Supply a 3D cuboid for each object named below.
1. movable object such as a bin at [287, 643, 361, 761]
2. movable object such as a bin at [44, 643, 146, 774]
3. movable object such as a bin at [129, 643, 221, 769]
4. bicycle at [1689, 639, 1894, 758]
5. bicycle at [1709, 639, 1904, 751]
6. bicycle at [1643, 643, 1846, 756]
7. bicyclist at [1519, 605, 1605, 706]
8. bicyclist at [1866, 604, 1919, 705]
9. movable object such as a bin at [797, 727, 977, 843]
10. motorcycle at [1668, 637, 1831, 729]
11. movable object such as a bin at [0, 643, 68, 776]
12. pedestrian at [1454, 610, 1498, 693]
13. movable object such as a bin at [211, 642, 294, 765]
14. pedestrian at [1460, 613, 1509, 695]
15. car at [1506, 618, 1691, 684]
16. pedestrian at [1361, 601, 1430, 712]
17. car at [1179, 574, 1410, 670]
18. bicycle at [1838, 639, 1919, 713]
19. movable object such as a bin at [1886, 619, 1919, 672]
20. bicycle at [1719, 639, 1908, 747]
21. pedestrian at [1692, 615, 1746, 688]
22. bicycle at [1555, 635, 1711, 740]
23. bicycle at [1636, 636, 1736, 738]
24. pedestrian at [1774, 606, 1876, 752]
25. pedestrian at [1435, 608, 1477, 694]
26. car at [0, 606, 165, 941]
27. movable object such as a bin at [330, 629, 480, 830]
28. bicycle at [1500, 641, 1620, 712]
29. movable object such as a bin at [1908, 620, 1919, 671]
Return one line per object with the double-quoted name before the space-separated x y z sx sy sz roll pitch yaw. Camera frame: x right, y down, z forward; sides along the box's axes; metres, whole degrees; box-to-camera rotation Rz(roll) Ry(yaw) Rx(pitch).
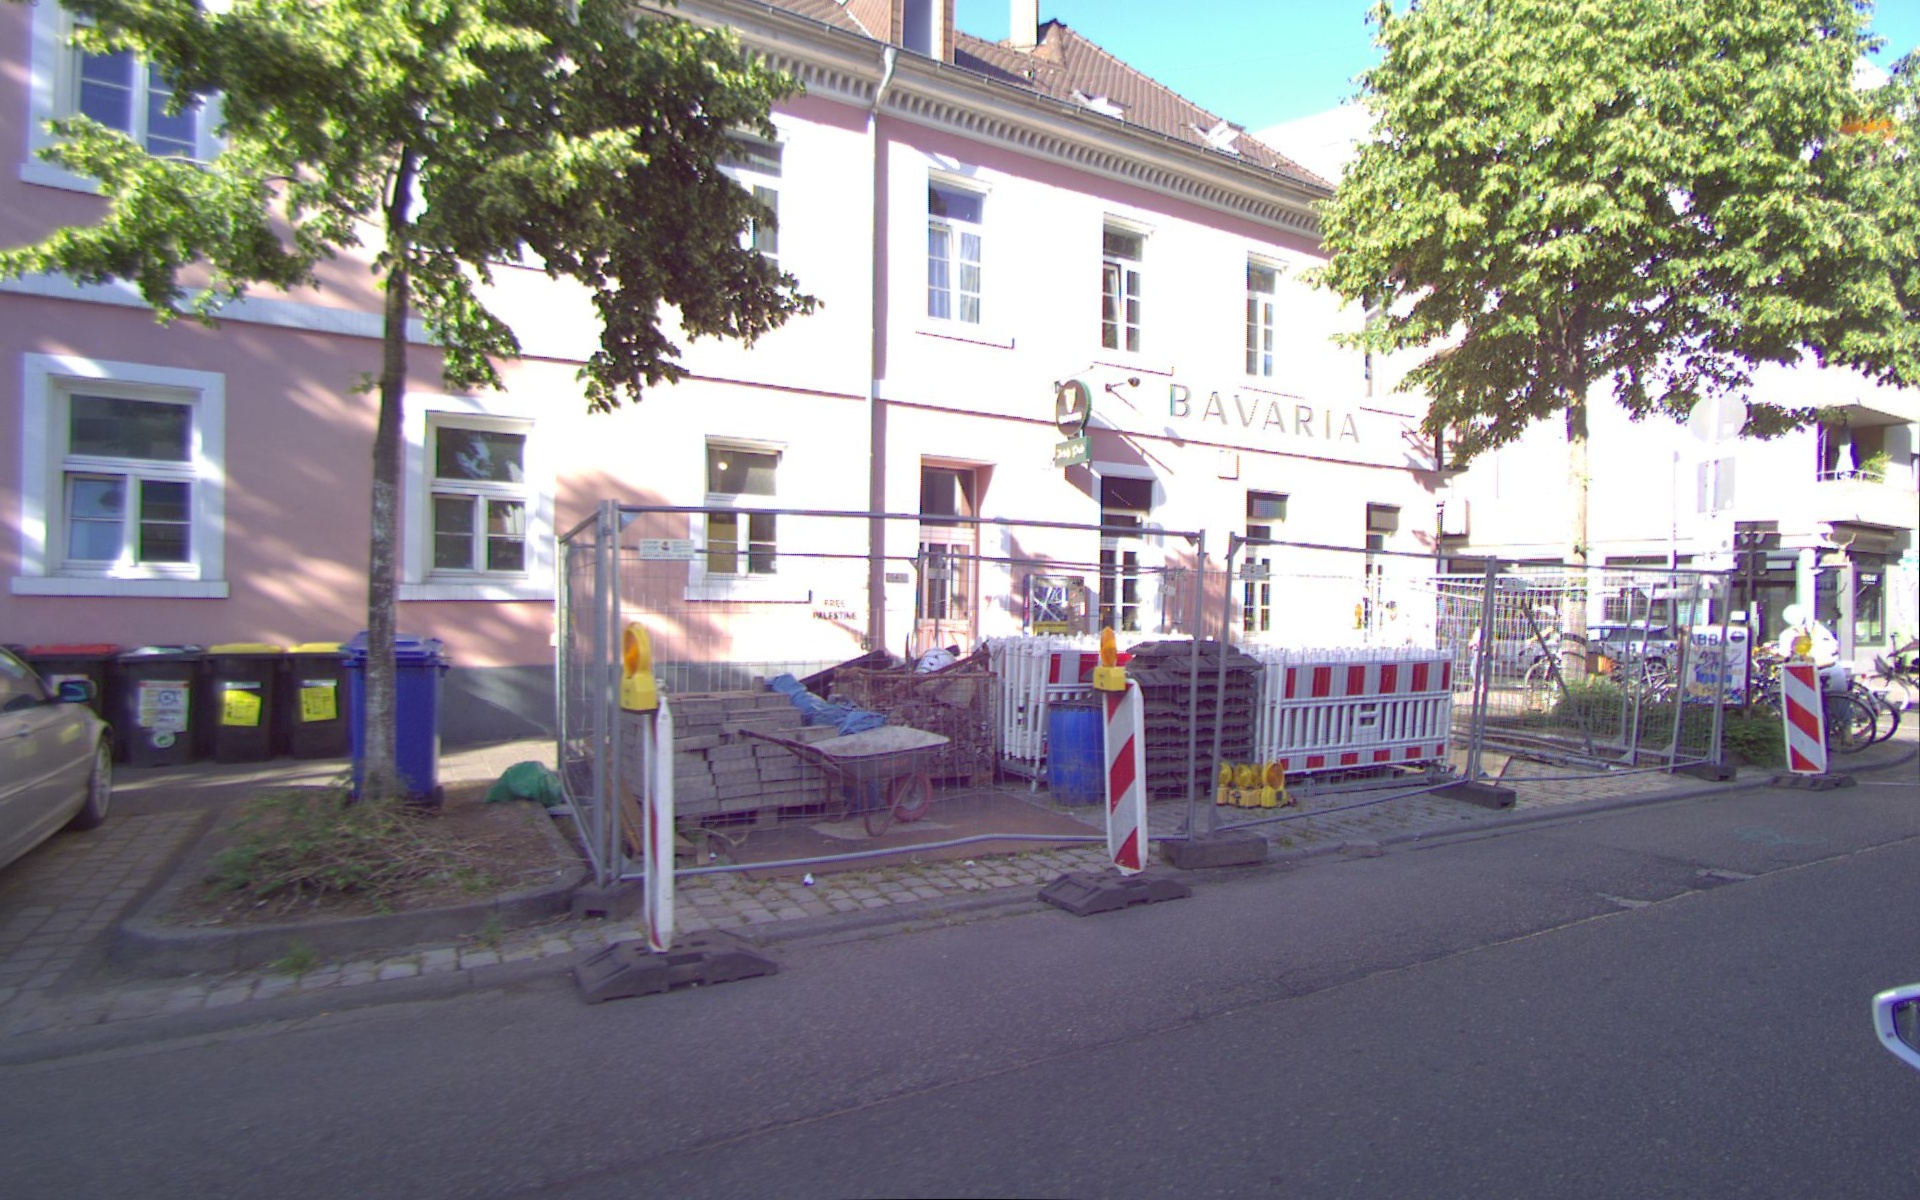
"movable object such as a bin" -6.073 0.950 9.613 0.538 1.074 0.629 1 -2 -29
"movable object such as a bin" -7.539 0.923 8.782 0.538 1.074 0.629 1 -2 -29
"movable object such as a bin" -7.042 0.929 9.040 0.538 1.074 0.629 1 -2 -29
"bicycle" 10.131 1.158 12.303 0.594 1.269 1.841 1 0 -36
"bicycle" 10.895 1.175 12.992 0.594 1.269 1.841 1 0 -36
"bicycle" 9.446 1.155 12.170 0.594 1.186 1.841 1 0 -36
"bicyclist" 9.767 0.877 16.308 1.027 1.581 0.764 1 -1 -27
"bicyclist" 16.598 0.934 17.400 1.133 1.715 0.722 0 -1 10
"movable object such as a bin" -0.498 1.229 6.860 1.065 0.624 0.625 1 -2 -30
"motorcycle" 11.952 1.218 15.253 0.751 1.246 1.836 1 0 -40
"movable object such as a bin" -8.028 0.905 8.485 0.567 1.074 0.693 1 -2 -29
"pedestrian" 11.261 1.111 21.919 0.651 1.783 0.649 1 -1 -37
"movable object such as a bin" -6.545 0.937 9.319 0.538 1.074 0.629 1 -2 -29
"pedestrian" 11.073 1.122 21.202 0.646 1.690 0.654 0 -1 -19
"car" 16.977 1.317 26.780 3.940 1.632 1.991 -1 -2 40
"pedestrian" 6.741 0.857 15.550 0.802 1.675 0.608 1 -1 -27
"car" 10.511 0.693 31.819 6.392 2.754 2.899 -1 -1 36
"bicycle" 16.592 1.315 17.399 1.994 1.236 0.722 0 -1 10
"movable object such as a bin" 27.711 1.300 28.997 1.222 1.504 1.134 1 -1 -32
"bicycle" 11.370 1.197 13.443 0.594 1.269 1.841 1 0 -36
"pedestrian" 17.680 1.194 23.410 0.676 1.665 0.774 0 -1 5
"bicycle" 9.147 1.148 13.740 0.591 1.269 1.786 1 0 -18
"bicycle" 10.172 1.176 14.131 0.588 1.269 1.794 1 0 18
"pedestrian" 10.731 0.950 12.495 0.780 1.730 0.766 1 0 28
"pedestrian" 10.521 1.063 21.289 0.646 1.783 0.653 -1 -1 42
"car" -5.643 0.758 5.134 1.787 1.431 4.658 1 -1 -30
"movable object such as a bin" -3.618 0.792 6.540 0.739 1.202 0.725 1 -2 -38
"bicycle" 9.750 1.216 16.318 1.930 1.073 0.764 1 -1 -27
"movable object such as a bin" 28.989 1.342 29.658 1.300 1.504 1.165 1 -1 -32
